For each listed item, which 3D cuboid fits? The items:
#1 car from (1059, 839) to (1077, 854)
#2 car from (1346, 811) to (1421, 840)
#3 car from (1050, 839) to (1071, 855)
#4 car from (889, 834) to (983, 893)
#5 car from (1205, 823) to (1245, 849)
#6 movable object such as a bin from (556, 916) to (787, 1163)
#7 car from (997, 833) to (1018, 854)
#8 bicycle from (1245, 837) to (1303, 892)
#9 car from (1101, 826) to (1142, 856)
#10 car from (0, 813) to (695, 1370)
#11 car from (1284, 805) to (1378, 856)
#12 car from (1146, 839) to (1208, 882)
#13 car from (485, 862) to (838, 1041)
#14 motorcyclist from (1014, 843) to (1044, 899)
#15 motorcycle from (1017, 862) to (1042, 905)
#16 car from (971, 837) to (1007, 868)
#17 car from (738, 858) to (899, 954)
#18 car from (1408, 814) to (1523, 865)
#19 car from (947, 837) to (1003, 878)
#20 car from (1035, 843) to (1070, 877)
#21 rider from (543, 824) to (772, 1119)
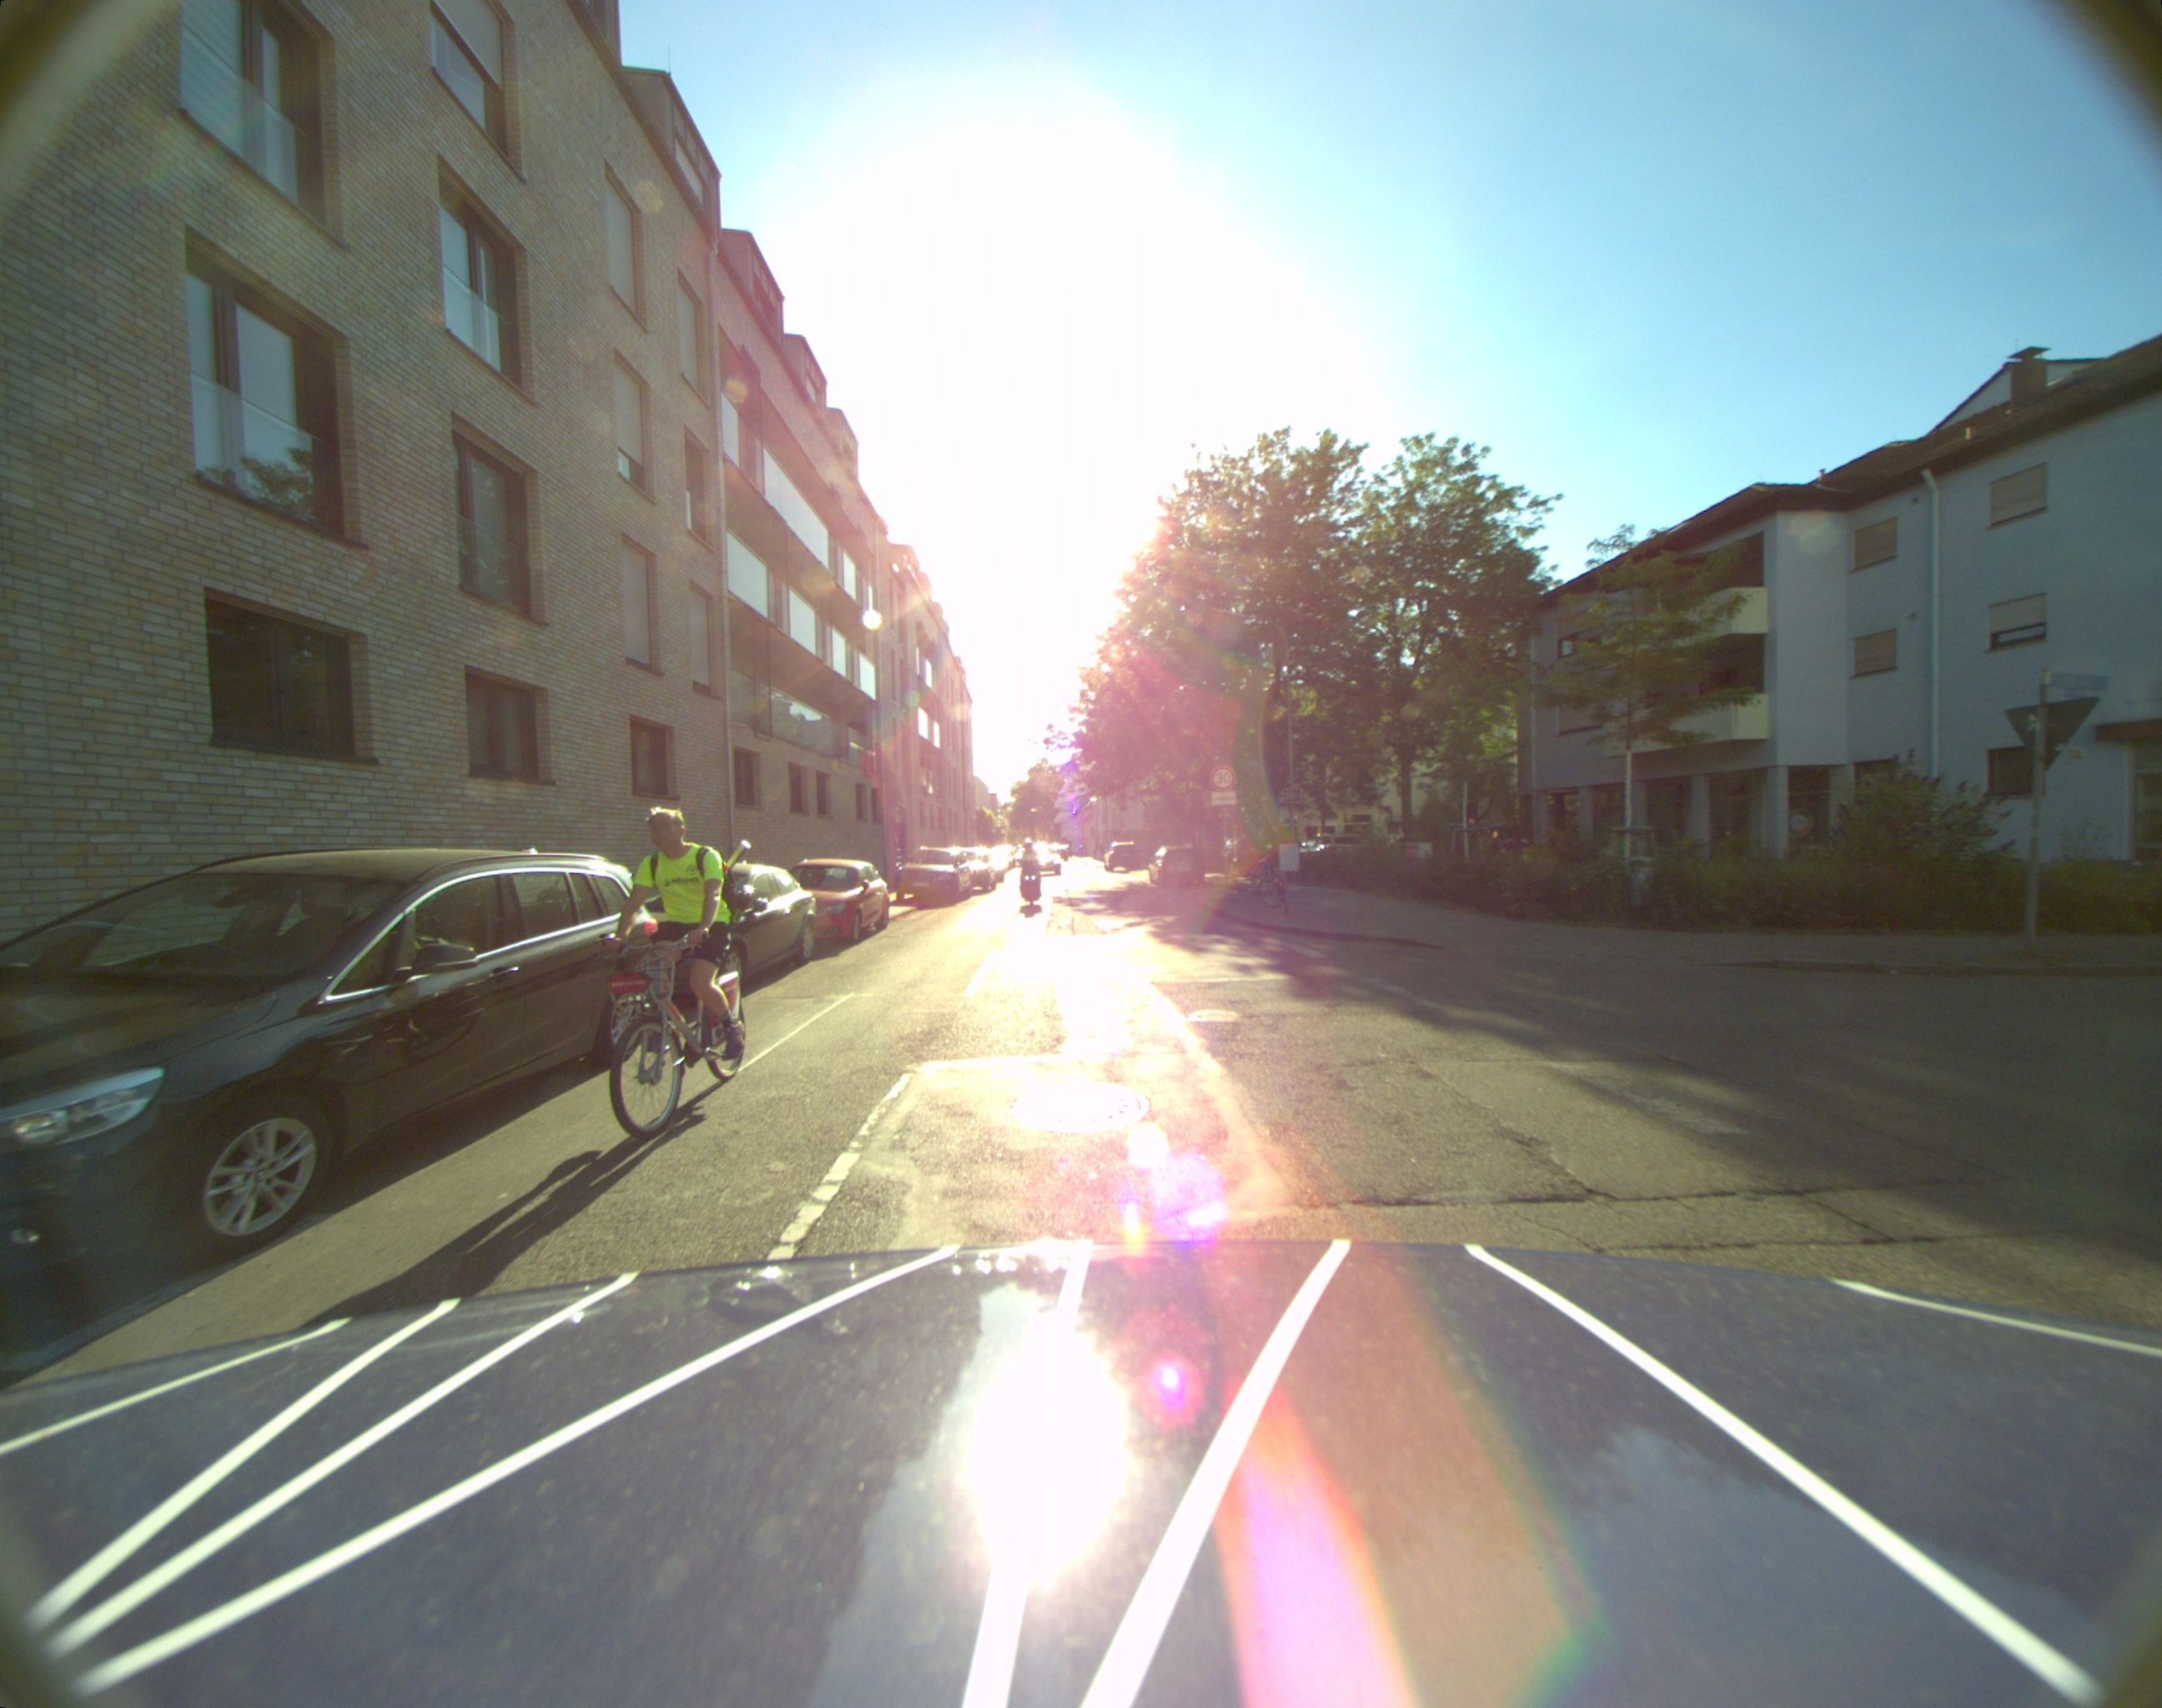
[{"bbox_3d":[-1.842,-1.047,103.036,1.999,1.619,3.997,-9,2,-4],"label":"car"},{"bbox_3d":[17.658,-1.641,44.597,1.999,1.467,4.828,-5,2,-6],"label":"car"},{"bbox_3d":[-2.155,-0.736,79.349,1.944,1.567,4.316,-2,2,-4],"label":"car"},{"bbox_3d":[-4.634,0.248,25.004,1.894,1.702,4.774,-2,1,3],"label":"car"},{"bbox_3d":[8.232,-1.064,43.717,1.525,1.400,3.637,-2,2,-1],"label":"car"},{"bbox_3d":[-2.487,1.045,4.883,0.456,1.027,1.839,-5,3,-3],"label":"movable object such as a bin"},{"bbox_3d":[-5.854,-0.826,60.356,1.655,1.583,4.339,-1,1,-6],"label":"car"},{"bbox_3d":[3.882,0.176,15.420,0.705,0.997,1.941,-3,2,2],"label":"bicycle"},{"bbox_3d":[2.537,-0.870,48.523,1.937,1.695,5.097,-5,2,-3],"label":"car"},{"bbox_3d":[-4.338,0.707,4.324,1.999,1.643,4.760,-2,1,-3],"label":"car"},{"bbox_3d":[10.296,-0.943,31.751,1.848,1.884,4.902,-3,1,-5],"label":"car"},{"bbox_3d":[3.696,0.214,29.781,1.701,1.483,3.997,-2,2,-3],"label":"car"},{"bbox_3d":[-4.688,0.954,9.435,1.999,1.497,4.365,-2,1,-2],"label":"car"},{"bbox_3d":[-1.346,0.431,19.931,0.717,1.425,0.746,-2,2,-3],"label":"motorcyclist"},{"bbox_3d":[-1.350,0.761,20.128,0.599,1.004,1.820,-2,2,-3],"label":"motorcycle"},{"bbox_3d":[-4.682,-0.117,39.353,1.701,1.459,4.716,-1,2,-5],"label":"car"},{"bbox_3d":[-4.738,0.853,14.354,1.717,1.396,4.071,1,1,-2],"label":"car"},{"bbox_3d":[16.274,-0.616,32.451,2.025,1.937,4.318,-3,2,-14],"label":"car"},{"bbox_3d":[-4.246,0.083,31.000,1.821,1.458,4.267,-2,2,-3],"label":"car"},{"bbox_3d":[-1.608,0.281,41.844,1.708,1.570,3.913,-4,2,-3],"label":"car"},{"bbox_3d":[-2.512,0.626,4.668,0.655,1.553,1.082,-5,3,-3],"label":"rider"}]
